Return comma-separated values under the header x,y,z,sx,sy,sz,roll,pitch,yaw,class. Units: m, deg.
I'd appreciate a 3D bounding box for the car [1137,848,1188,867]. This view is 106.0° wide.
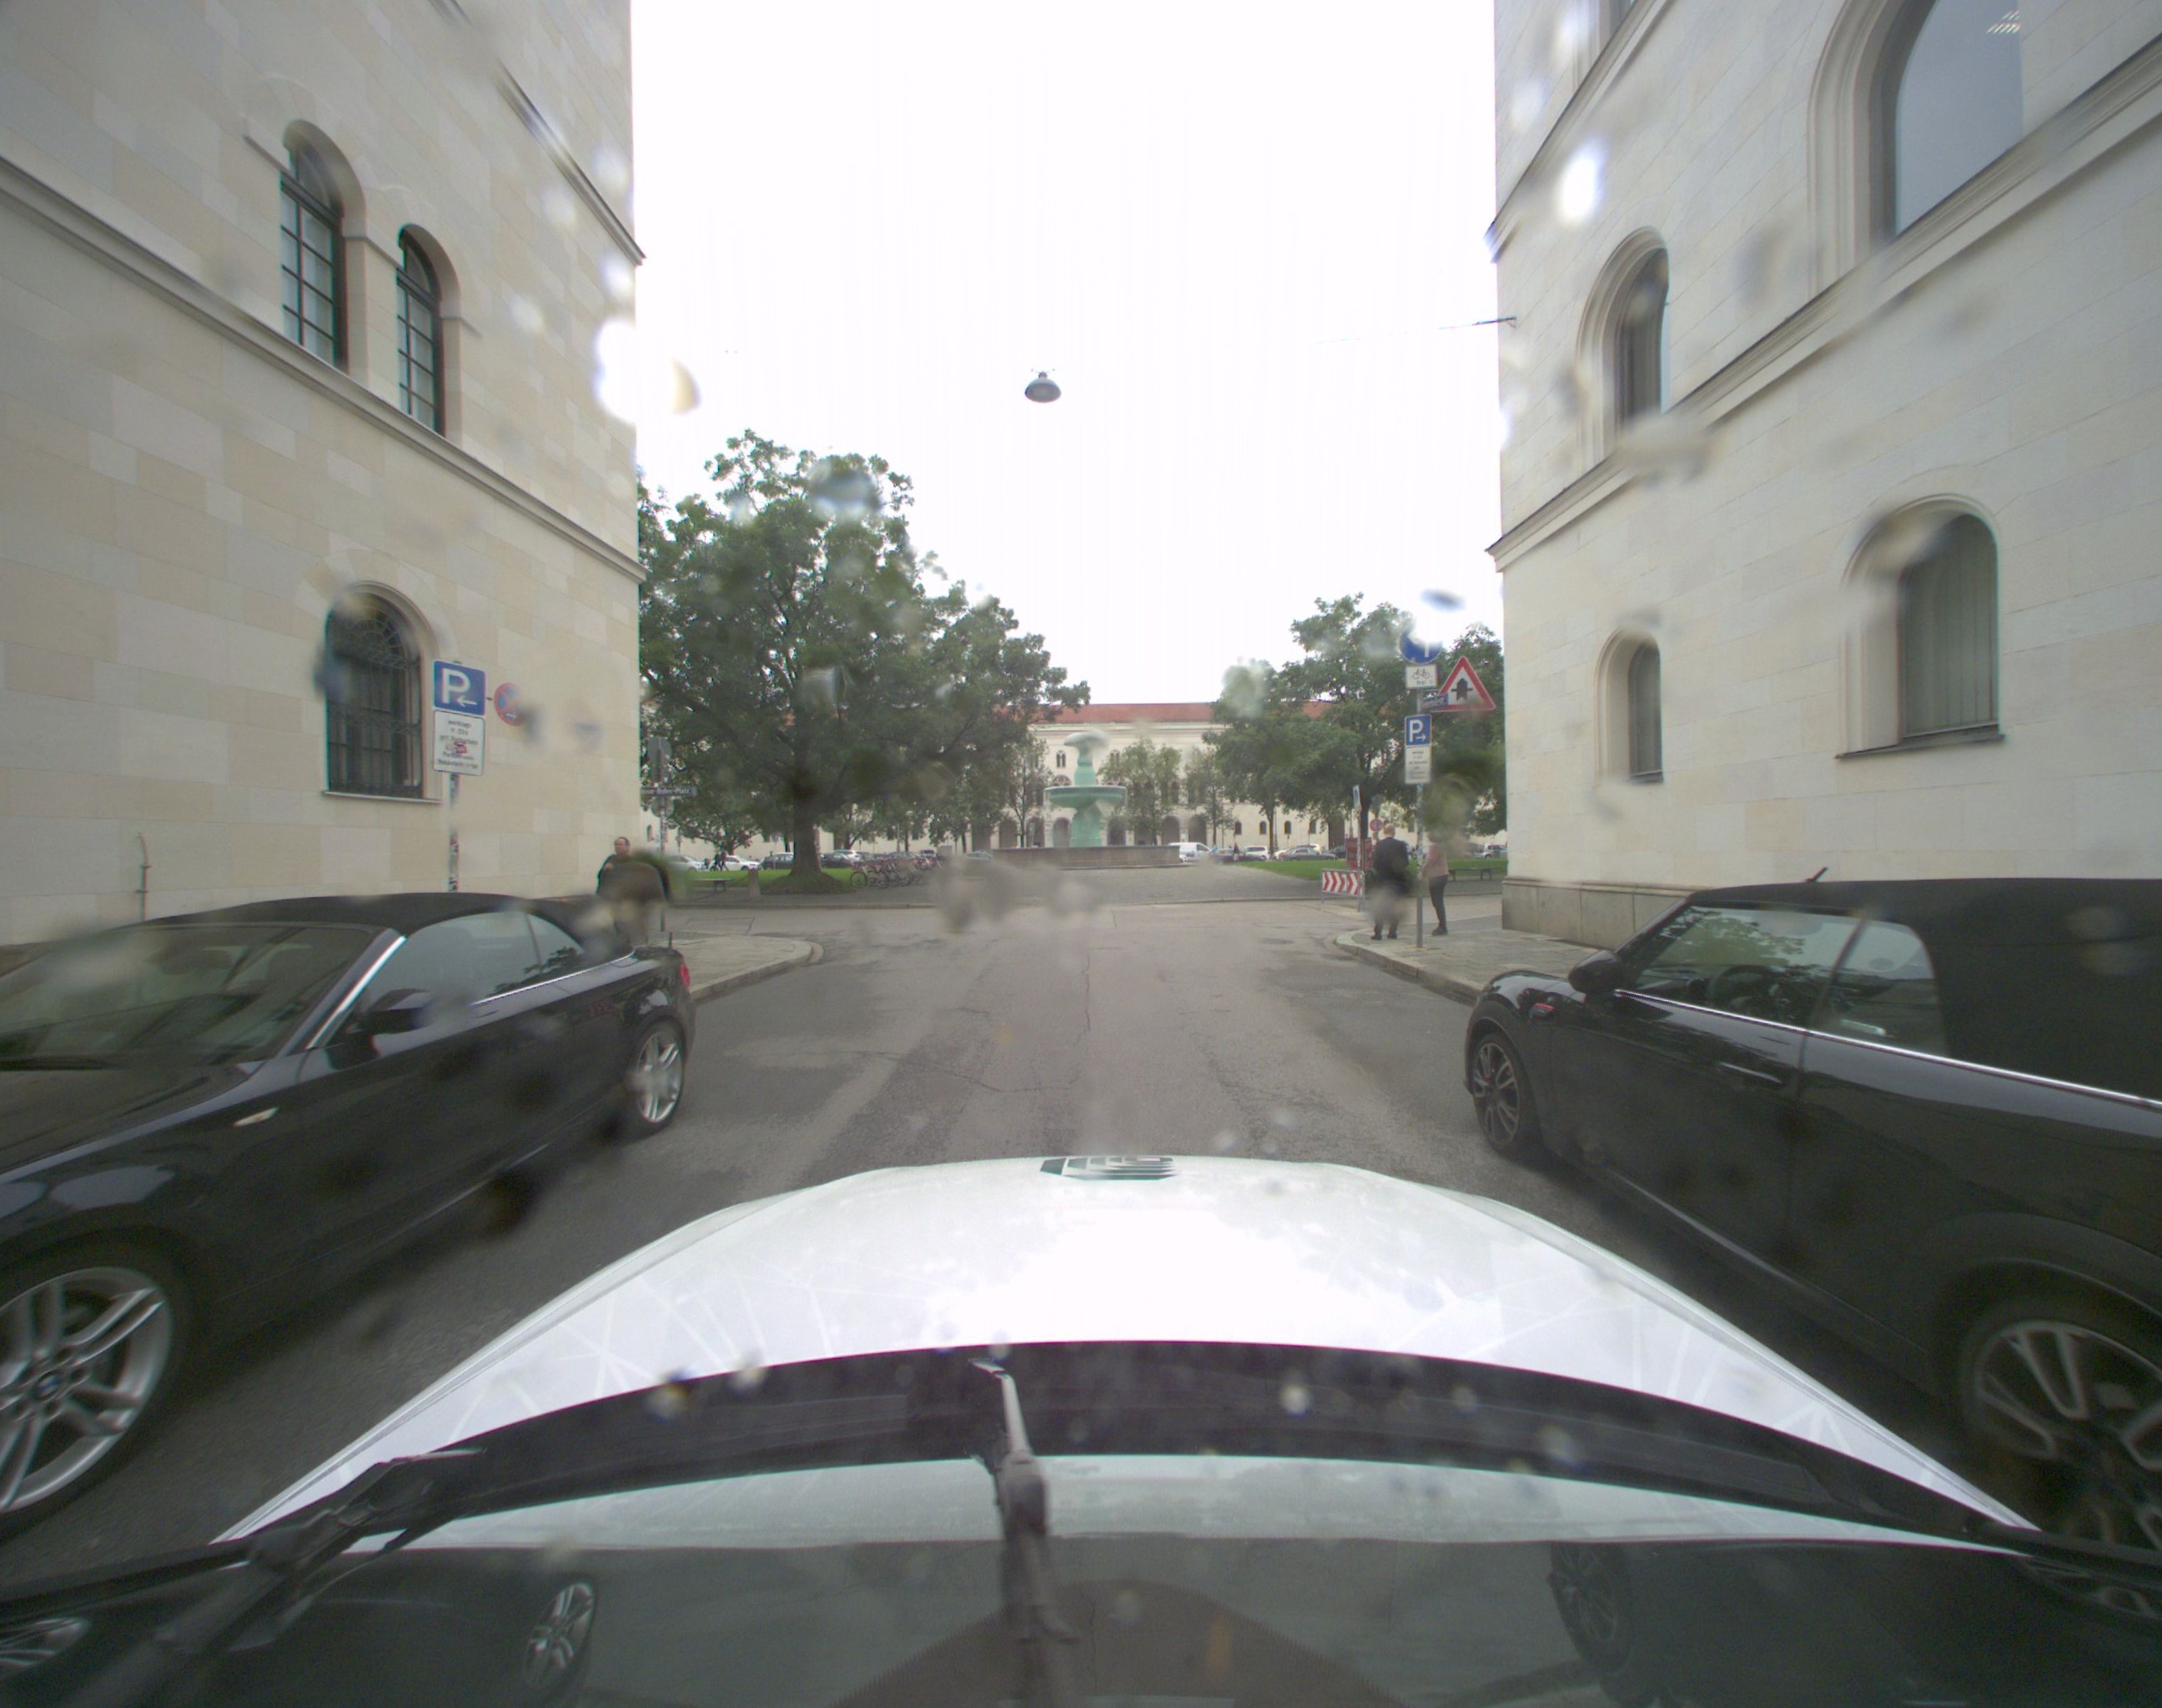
x,y,z,sx,sy,sz,roll,pitch,yaw,class
6.531,0.275,65.771,3.971,1.403,1.826,-2,0,2,car

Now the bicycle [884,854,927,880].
x,y,z,sx,sy,sz,roll,pitch,yaw,class
-7.448,0.536,34.530,1.608,1.098,0.700,0,1,11,bicycle

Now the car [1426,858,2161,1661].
x,y,z,sx,sy,sz,roll,pitch,yaw,class
2.767,0.749,2.917,1.534,1.426,3.773,-1,0,1,car

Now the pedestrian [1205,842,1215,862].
x,y,z,sx,sy,sz,roll,pitch,yaw,class
9.294,-0.152,58.568,0.577,1.465,0.551,-1,1,24,pedestrian

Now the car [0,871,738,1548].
x,y,z,sx,sy,sz,roll,pitch,yaw,class
-3.176,0.839,3.273,1.692,1.393,4.212,-2,0,1,car

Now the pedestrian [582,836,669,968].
x,y,z,sx,sy,sz,roll,pitch,yaw,class
-6.322,0.645,11.338,0.752,1.749,0.689,-2,0,-2,pedestrian

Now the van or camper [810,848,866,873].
x,y,z,sx,sy,sz,roll,pitch,yaw,class
-22.786,0.629,76.467,4.568,2.013,1.998,-4,-1,-2,van or camper

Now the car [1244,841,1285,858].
x,y,z,sx,sy,sz,roll,pitch,yaw,class
19.834,-0.465,88.193,3.976,1.783,1.930,0,1,-2,car

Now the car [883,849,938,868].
x,y,z,sx,sy,sz,roll,pitch,yaw,class
-13.668,0.360,65.479,3.975,1.376,1.999,-1,1,-1,car

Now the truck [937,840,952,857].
x,y,z,sx,sy,sz,roll,pitch,yaw,class
-20.168,-0.795,120.236,1.994,2.488,3.986,0,1,-10,truck

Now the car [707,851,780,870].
x,y,z,sx,sy,sz,roll,pitch,yaw,class
-27.053,0.522,65.456,4.954,1.376,1.999,-1,1,-1,car

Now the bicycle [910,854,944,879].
x,y,z,sx,sy,sz,roll,pitch,yaw,class
-6.979,0.549,36.930,1.391,1.098,0.659,0,1,11,bicycle

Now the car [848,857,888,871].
x,y,z,sx,sy,sz,roll,pitch,yaw,class
-21.868,1.000,83.783,3.661,1.376,1.602,-1,1,-1,car

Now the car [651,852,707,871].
x,y,z,sx,sy,sz,roll,pitch,yaw,class
-32.258,0.605,65.418,3.661,1.376,1.602,-1,1,-1,car

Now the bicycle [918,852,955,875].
x,y,z,sx,sy,sz,roll,pitch,yaw,class
-6.737,0.436,37.940,1.525,1.019,0.700,0,1,11,bicycle

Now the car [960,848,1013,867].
x,y,z,sx,sy,sz,roll,pitch,yaw,class
-7.605,0.287,65.677,3.975,1.376,1.999,-1,1,-1,car

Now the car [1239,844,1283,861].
x,y,z,sx,sy,sz,roll,pitch,yaw,class
18.484,-0.188,83.849,4.088,1.741,1.745,0,1,-3,car

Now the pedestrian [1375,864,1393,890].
x,y,z,sx,sy,sz,roll,pitch,yaw,class
9.304,0.704,25.037,0.412,0.762,0.461,0,1,5,pedestrian

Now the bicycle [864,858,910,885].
x,y,z,sx,sy,sz,roll,pitch,yaw,class
-7.654,0.695,32.105,1.608,1.035,0.700,0,1,11,bicycle

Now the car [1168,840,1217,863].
x,y,z,sx,sy,sz,roll,pitch,yaw,class
10.002,-0.245,73.296,4.307,2.013,1.826,0,1,4,car

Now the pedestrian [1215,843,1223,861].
x,y,z,sx,sy,sz,roll,pitch,yaw,class
9.886,-0.148,58.429,0.439,1.214,0.538,-1,1,26,pedestrian

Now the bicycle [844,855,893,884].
x,y,z,sx,sy,sz,roll,pitch,yaw,class
-7.982,0.574,30.650,1.608,1.035,0.700,0,1,11,bicycle

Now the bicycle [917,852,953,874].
x,y,z,sx,sy,sz,roll,pitch,yaw,class
-6.971,0.428,38.834,1.525,1.019,0.700,0,1,11,bicycle

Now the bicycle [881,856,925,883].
x,y,z,sx,sy,sz,roll,pitch,yaw,class
-7.328,0.627,33.572,1.608,1.098,0.700,0,1,11,bicycle

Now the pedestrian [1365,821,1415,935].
x,y,z,sx,sy,sz,roll,pitch,yaw,class
4.971,0.378,13.128,0.638,1.808,0.490,-1,0,6,pedestrian

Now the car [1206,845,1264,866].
x,y,z,sx,sy,sz,roll,pitch,yaw,class
12.340,0.116,65.500,4.341,1.524,1.804,-1,1,2,car

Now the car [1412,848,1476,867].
x,y,z,sx,sy,sz,roll,pitch,yaw,class
29.164,0.268,65.492,4.341,1.418,1.804,-1,1,2,car

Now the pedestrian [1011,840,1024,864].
x,y,z,sx,sy,sz,roll,pitch,yaw,class
-4.378,-0.145,56.109,0.748,1.639,0.710,-1,1,0,pedestrian

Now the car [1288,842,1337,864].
x,y,z,sx,sy,sz,roll,pitch,yaw,class
21.730,-0.072,76.636,3.981,2.013,1.996,0,1,-6,car

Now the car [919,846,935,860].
x,y,z,sx,sy,sz,roll,pitch,yaw,class
-22.367,-0.159,118.265,2.134,2.013,4.174,-1,1,-13,car

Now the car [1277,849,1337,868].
x,y,z,sx,sy,sz,roll,pitch,yaw,class
18.207,0.318,65.733,4.341,1.418,1.804,-1,1,2,car

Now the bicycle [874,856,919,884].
x,y,z,sx,sy,sz,roll,pitch,yaw,class
-7.447,0.650,32.857,1.608,1.098,0.700,0,1,11,bicycle

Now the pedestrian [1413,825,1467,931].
x,y,z,sx,sy,sz,roll,pitch,yaw,class
5.831,0.385,13.252,0.619,1.681,0.544,0,0,-6,pedestrian

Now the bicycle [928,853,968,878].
x,y,z,sx,sy,sz,roll,pitch,yaw,class
-5.891,0.520,36.044,1.608,1.098,0.618,0,1,11,bicycle

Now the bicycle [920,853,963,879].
x,y,z,sx,sy,sz,roll,pitch,yaw,class
-6.056,0.508,35.367,1.699,1.098,0.700,0,1,11,bicycle

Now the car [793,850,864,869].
x,y,z,sx,sy,sz,roll,pitch,yaw,class
-20.381,0.407,65.838,5.058,1.376,1.999,-1,1,-1,car

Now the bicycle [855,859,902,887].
x,y,z,sx,sy,sz,roll,pitch,yaw,class
-7.810,0.716,31.389,1.608,1.035,0.700,0,1,11,bicycle
